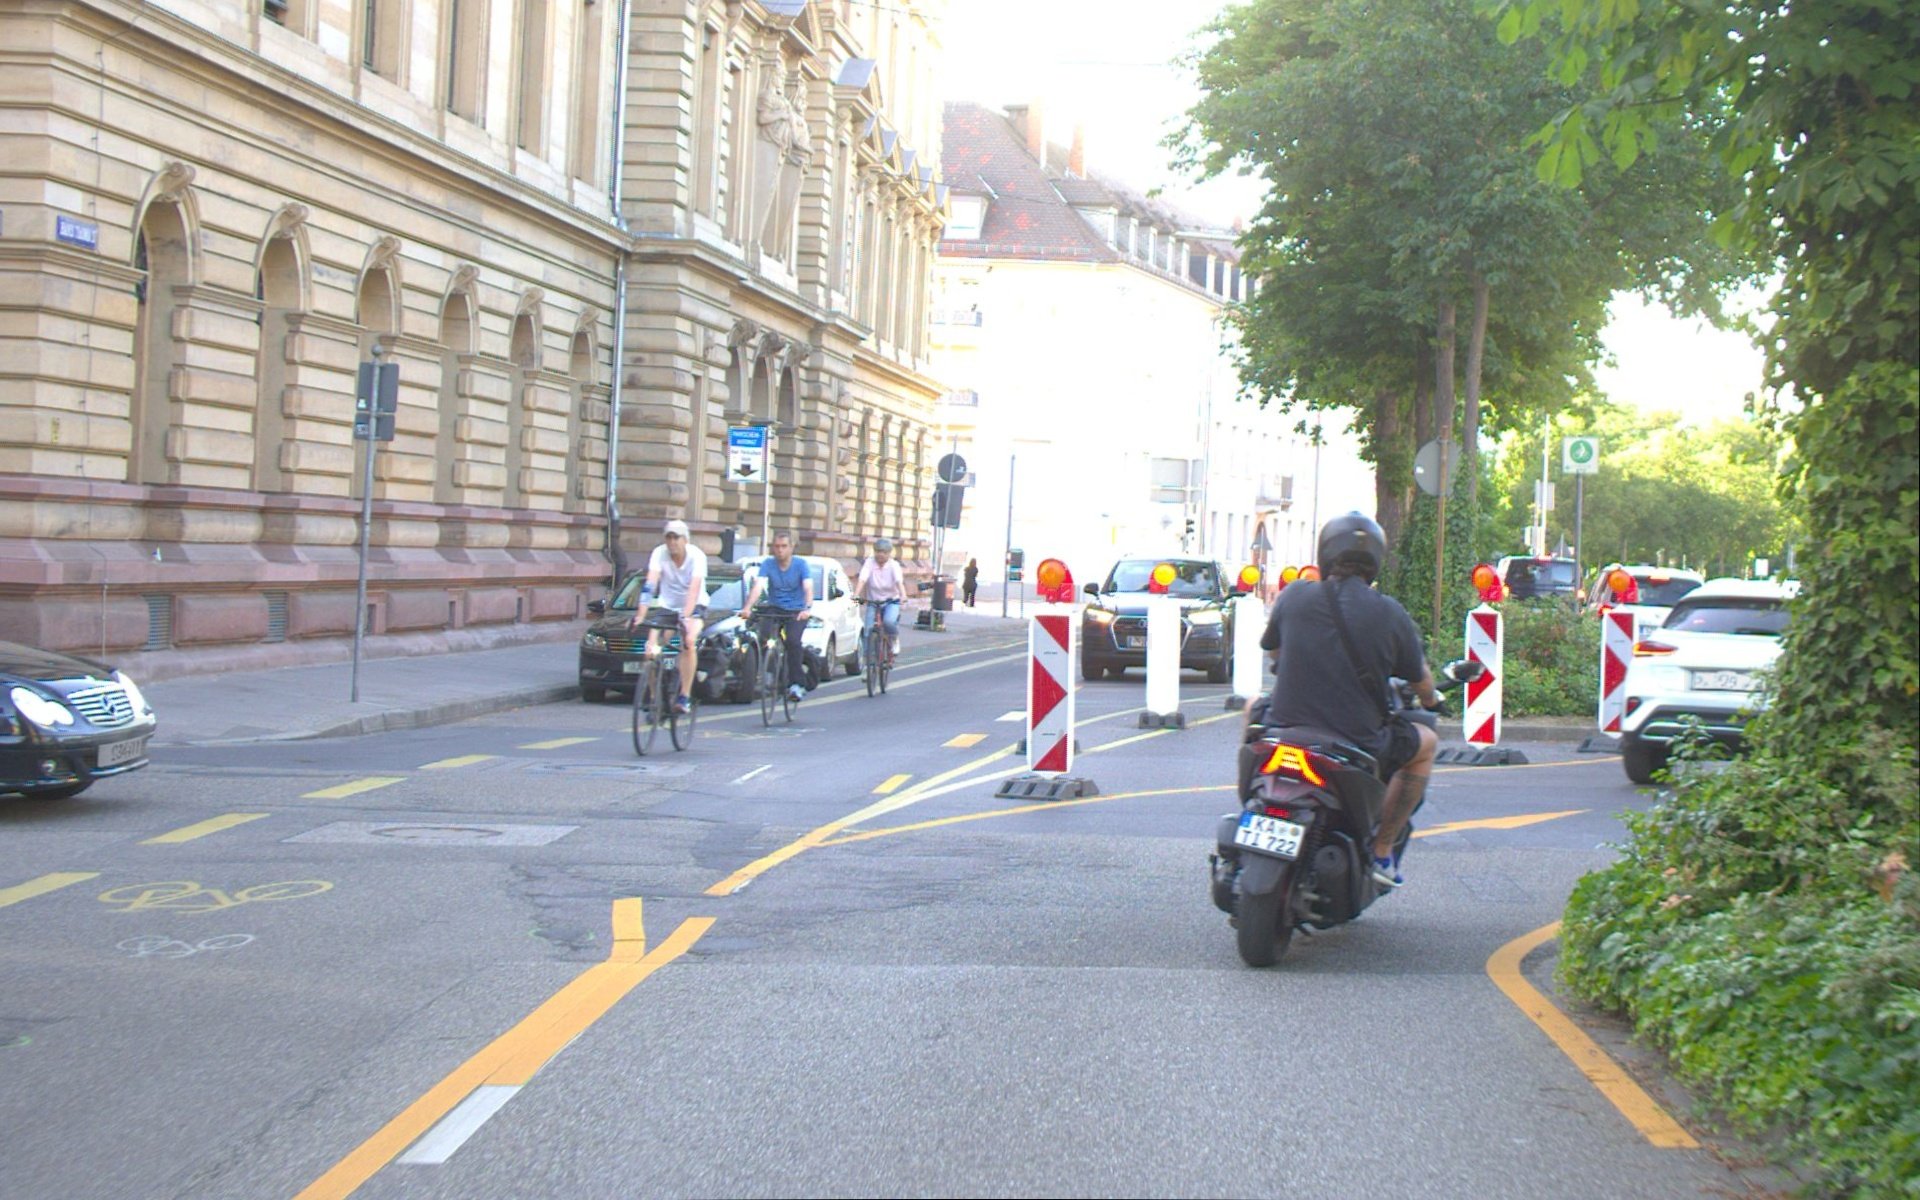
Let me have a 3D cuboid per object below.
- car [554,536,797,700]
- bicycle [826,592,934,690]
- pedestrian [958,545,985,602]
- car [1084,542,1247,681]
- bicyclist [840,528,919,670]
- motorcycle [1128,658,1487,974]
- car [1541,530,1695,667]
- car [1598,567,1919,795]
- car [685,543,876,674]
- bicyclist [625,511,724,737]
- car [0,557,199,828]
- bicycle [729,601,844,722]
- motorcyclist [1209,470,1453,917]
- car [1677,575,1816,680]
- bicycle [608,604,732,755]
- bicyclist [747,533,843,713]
[{"bbox_3d":[-2.928,0.146,36.268,1.994,1.561,4.288,2,1,2],"label":"car"},{"bbox_3d":[-0.884,0.441,38.420,0.533,1.031,2.034,2,1,18],"label":"bicycle"},{"bbox_3d":[0.327,-0.736,95.316,0.665,1.548,0.649,2,1,3],"label":"pedestrian"},{"bbox_3d":[2.673,0.110,45.359,1.994,1.689,4.399,2,1,2],"label":"car"},{"bbox_3d":[-0.896,-0.018,38.466,0.629,1.548,0.731,2,1,18],"label":"bicyclist"},{"bbox_3d":[1.363,0.783,13.157,0.797,1.062,1.723,4,1,24],"label":"motorcycle"},{"bbox_3d":[9.998,-0.039,52.514,1.841,1.906,4.057,4,1,6],"label":"car"},{"bbox_3d":[5.961,0.517,25.065,1.853,1.475,4.053,1,1,21],"label":"car"},{"bbox_3d":[-2.220,0.070,43.639,1.994,1.523,4.184,2,1,2],"label":"car"},{"bbox_3d":[-2.154,0.172,25.971,0.566,1.661,0.834,2,1,5],"label":"bicyclist"},{"bbox_3d":[-6.643,0.426,19.161,4.315,1.385,1.775,2,1,8],"label":"car"},{"bbox_3d":[-1.579,0.546,31.539,0.533,1.031,1.906,2,1,13],"label":"bicycle"},{"bbox_3d":[1.439,0.348,13.290,0.658,1.645,0.650,4,1,25],"label":"motorcyclist"},{"bbox_3d":[14.084,0.464,61.737,1.841,1.693,4.057,4,1,6],"label":"car"},{"bbox_3d":[-2.167,0.573,25.893,0.583,1.031,2.129,2,1,4],"label":"bicycle"},{"bbox_3d":[-1.510,0.201,31.553,0.628,1.608,0.869,2,1,13],"label":"bicyclist"}]
